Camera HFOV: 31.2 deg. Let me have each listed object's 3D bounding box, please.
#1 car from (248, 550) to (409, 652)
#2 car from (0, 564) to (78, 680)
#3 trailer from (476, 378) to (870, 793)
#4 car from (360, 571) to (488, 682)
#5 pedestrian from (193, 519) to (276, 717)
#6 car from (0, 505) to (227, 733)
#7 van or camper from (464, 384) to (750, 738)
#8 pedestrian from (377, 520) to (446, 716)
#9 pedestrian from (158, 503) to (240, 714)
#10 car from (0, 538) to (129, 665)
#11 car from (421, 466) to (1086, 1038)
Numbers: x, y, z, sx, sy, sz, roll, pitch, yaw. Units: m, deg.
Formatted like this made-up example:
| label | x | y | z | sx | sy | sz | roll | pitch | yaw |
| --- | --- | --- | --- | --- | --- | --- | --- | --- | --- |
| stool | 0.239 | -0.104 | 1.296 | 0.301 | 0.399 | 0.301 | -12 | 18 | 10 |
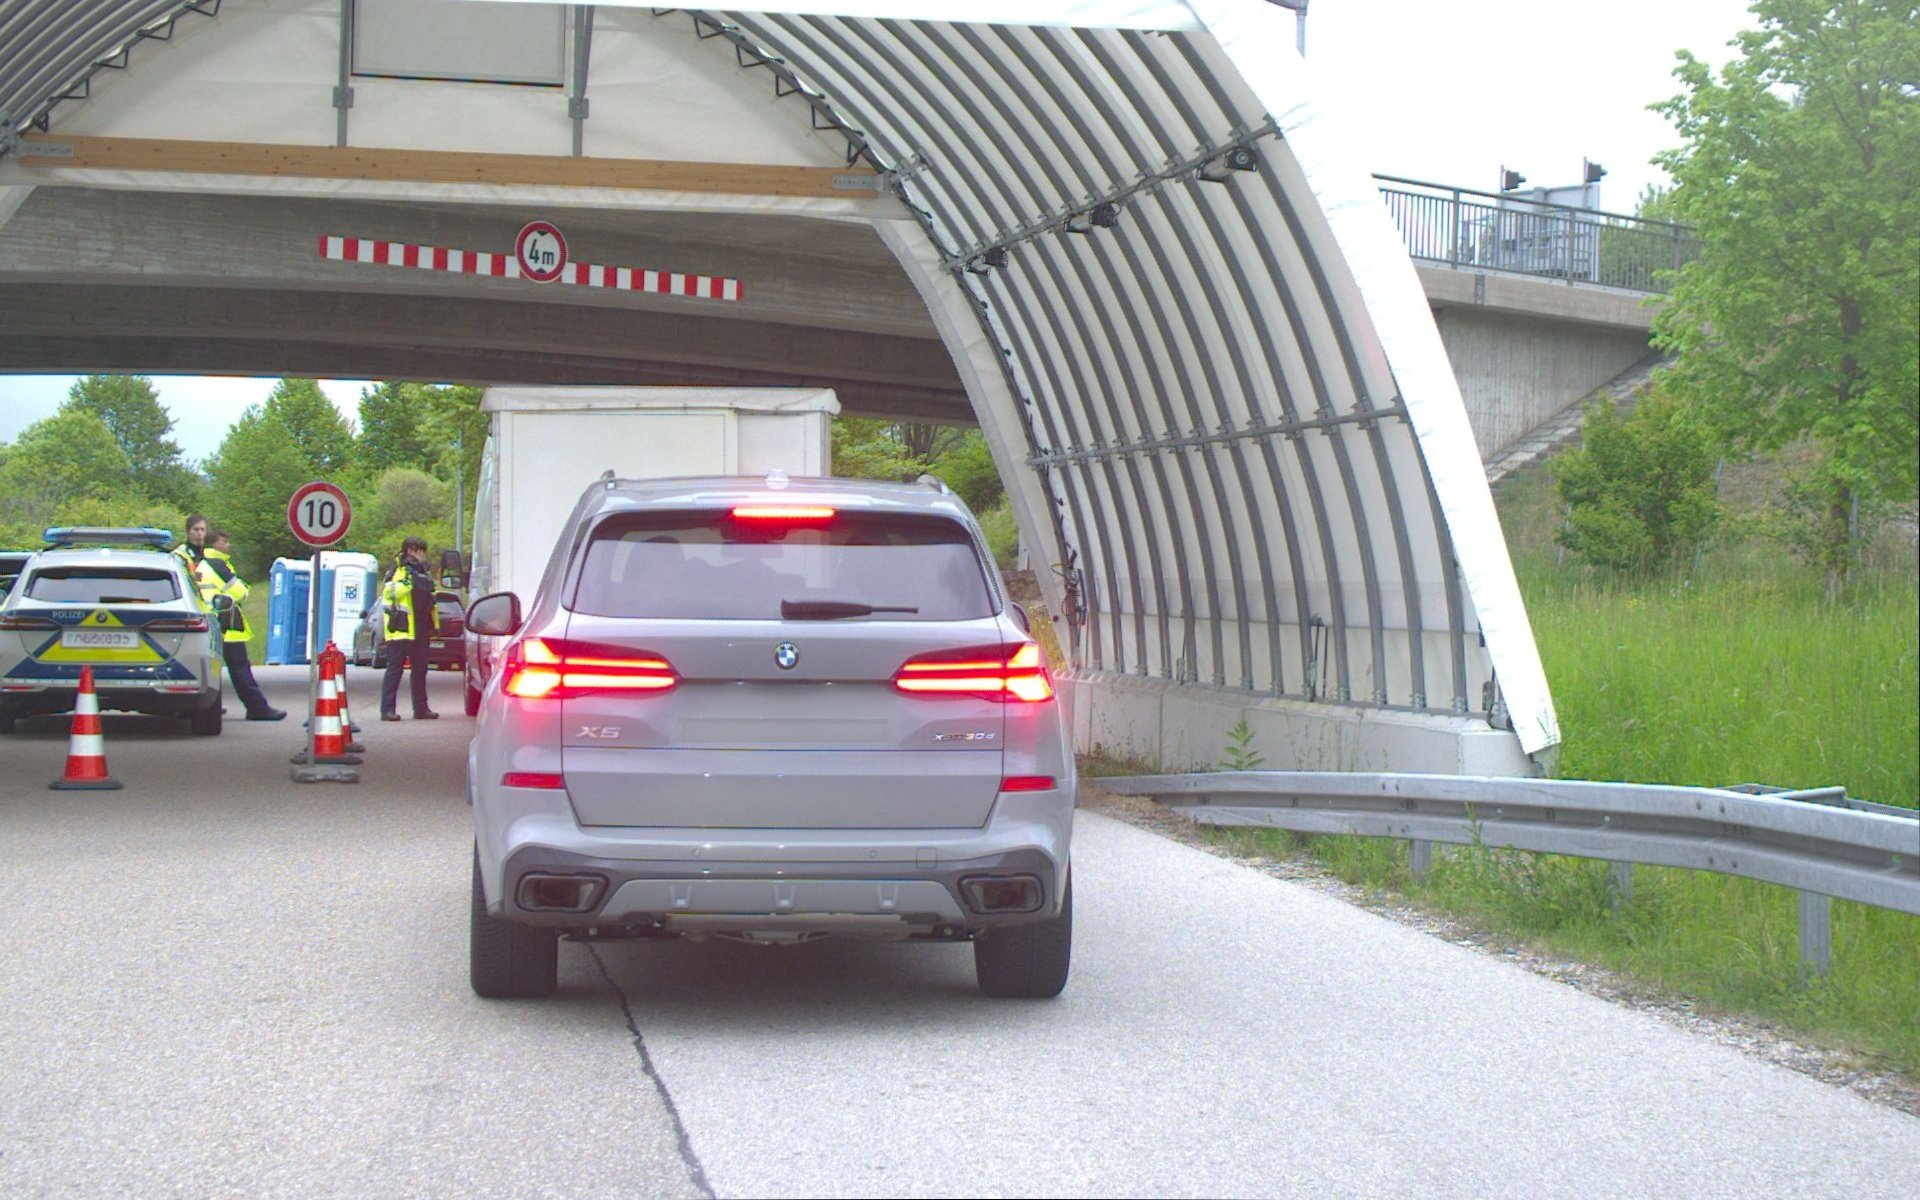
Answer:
| label | x | y | z | sx | sy | sz | roll | pitch | yaw |
| --- | --- | --- | --- | --- | --- | --- | --- | --- | --- |
| car | -12.884 | 0.003 | 69.999 | 1.993 | 2.007 | 4.000 | 0 | 0 | -30 |
| car | -12.700 | 0.266 | 44.146 | 1.515 | 1.437 | 3.315 | 0 | 1 | -36 |
| trailer | -2.154 | -0.070 | 23.593 | 2.278 | 2.422 | 6.819 | 0 | 0 | -8 |
| car | -9.421 | 0.430 | 60.264 | 1.703 | 1.848 | 4.001 | -1 | 1 | -16 |
| pedestrian | -6.553 | 0.156 | 31.073 | 0.720 | 1.769 | 0.690 | 0 | 0 | -11 |
| car | -7.157 | 0.131 | 28.656 | 1.993 | 1.766 | 3.766 | 0 | 0 | -11 |
| van or camper | -3.177 | -0.291 | 29.850 | 2.156 | 2.754 | 5.872 | 0 | 0 | -9 |
| pedestrian | -5.013 | 0.156 | 31.411 | 0.604 | 1.769 | 0.650 | 0 | 0 | -11 |
| pedestrian | -7.082 | 0.075 | 32.026 | 0.720 | 1.939 | 0.690 | 0 | 0 | -11 |
| car | -14.580 | 0.016 | 51.126 | 3.987 | 1.848 | 1.709 | 0 | 0 | 5 |
| car | -0.742 | 0.451 | 12.352 | 1.993 | 1.714 | 4.000 | 0 | 0 | -4 |
